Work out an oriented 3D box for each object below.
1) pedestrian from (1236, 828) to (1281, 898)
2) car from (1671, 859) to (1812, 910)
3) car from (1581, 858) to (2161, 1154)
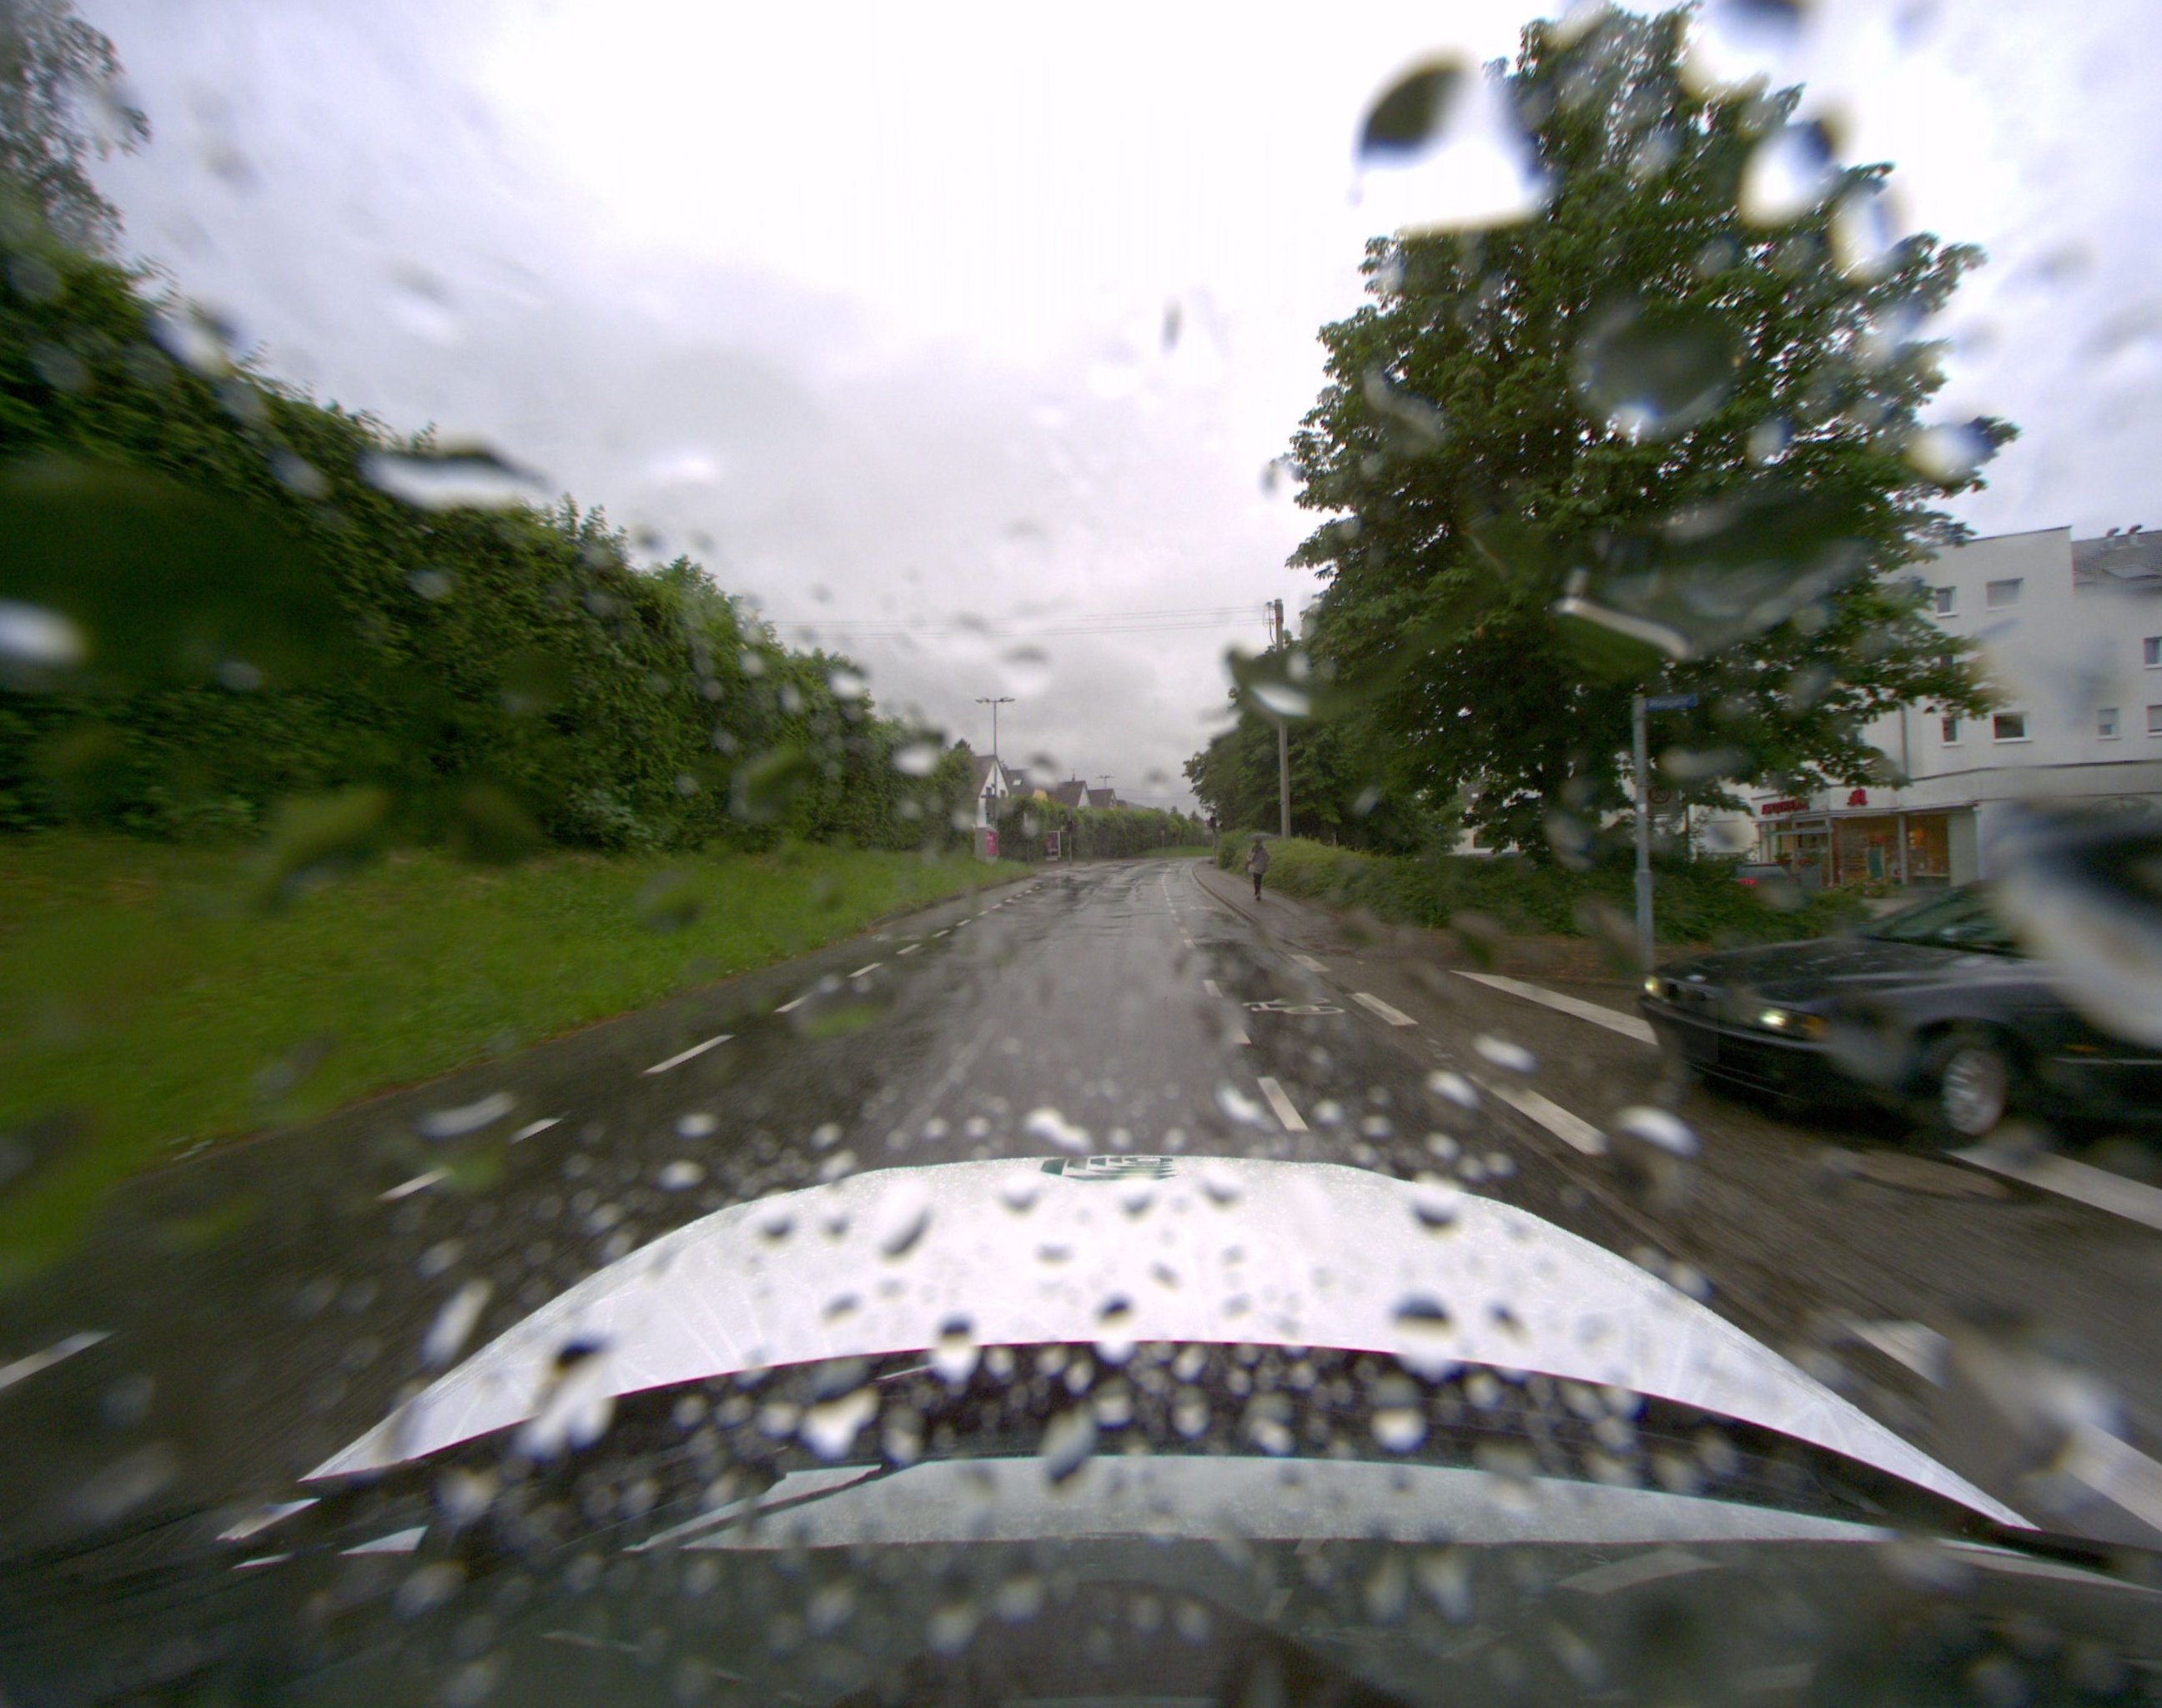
[{"bbox_3d":[4.462,0.213,20.524,0.916,1.675,1.058,-3,0,4],"label":"pedestrian"},{"bbox_3d":[20.684,0.904,25.685,1.681,1.438,3.616,-1,0,4],"label":"car"},{"bbox_3d":[5.826,0.726,4.761,4.575,1.387,1.951,0,0,7],"label":"car"}]
